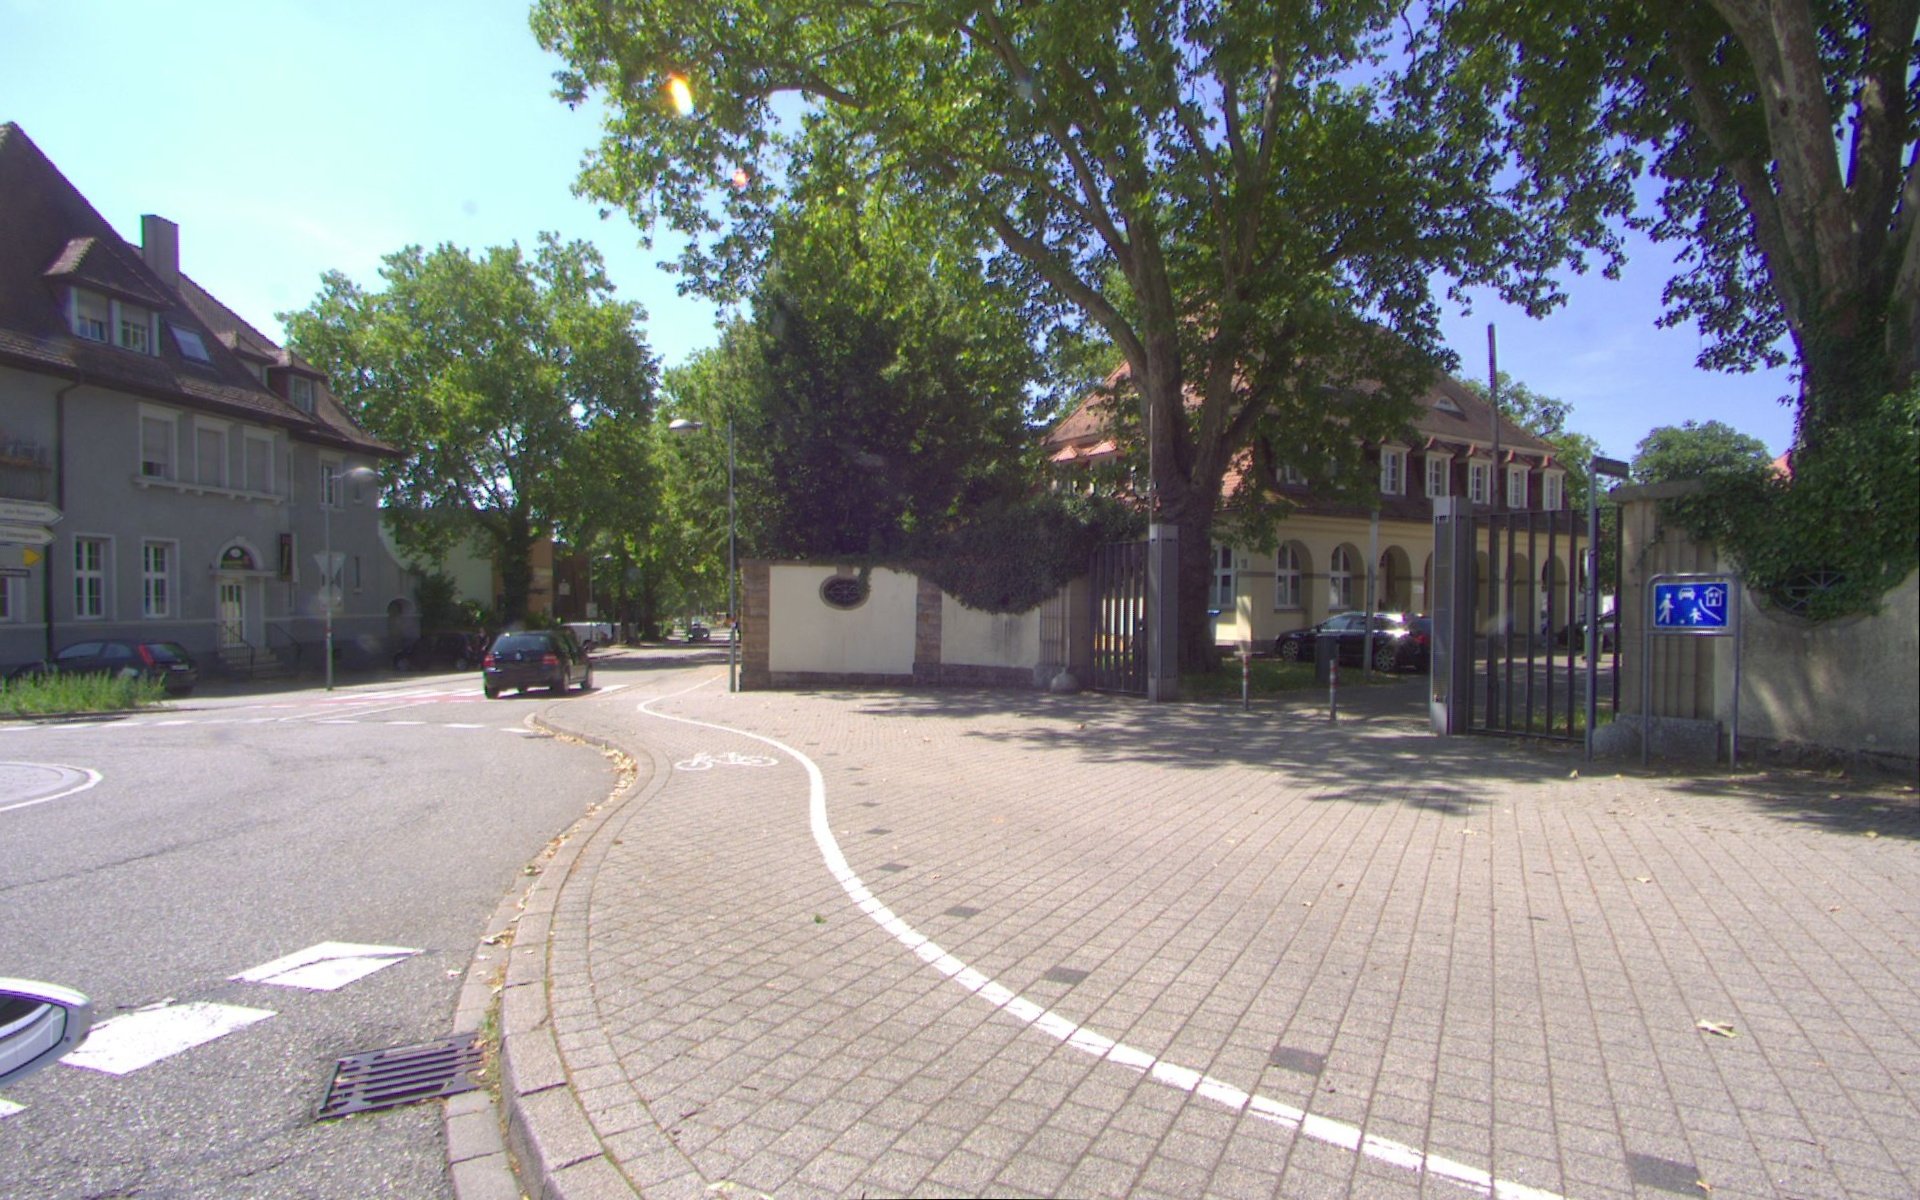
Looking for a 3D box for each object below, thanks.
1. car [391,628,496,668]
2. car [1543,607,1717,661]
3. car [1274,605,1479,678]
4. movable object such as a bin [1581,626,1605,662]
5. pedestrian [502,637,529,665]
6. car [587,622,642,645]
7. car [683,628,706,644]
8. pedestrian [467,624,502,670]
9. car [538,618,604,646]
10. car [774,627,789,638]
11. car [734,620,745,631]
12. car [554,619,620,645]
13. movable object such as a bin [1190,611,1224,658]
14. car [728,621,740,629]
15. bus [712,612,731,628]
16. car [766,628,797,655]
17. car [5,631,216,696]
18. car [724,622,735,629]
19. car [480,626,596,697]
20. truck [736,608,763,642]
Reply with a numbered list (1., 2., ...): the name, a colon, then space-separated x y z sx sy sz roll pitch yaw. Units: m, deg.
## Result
1. car: -20.704 1.915 40.243 3.326 1.566 1.724 -1 -1 1
2. car: 22.702 1.088 34.121 1.973 1.422 4.471 0 3 -32
3. car: 10.517 0.973 25.626 1.973 1.422 4.471 0 3 -32
4. movable object such as a bin: 18.455 1.274 29.193 0.530 1.021 0.525 -1 -1 26
5. pedestrian: -18.758 2.149 42.250 0.741 1.136 0.897 -1 -1 1
6. car: -28.886 2.773 83.781 4.065 1.827 1.902 2 -1 -12
7. car: -24.132 3.268 91.145 1.742 1.444 4.390 0 -2 -12
8. pedestrian: -18.588 1.819 39.196 0.857 1.765 1.112 -1 -1 -2
9. car: -26.623 2.207 68.704 3.926 1.815 1.867 2 -1 -12
10. car: -23.825 4.376 133.847 1.740 1.392 3.726 -1 -1 -14
11. car: -39.322 4.556 178.400 1.851 1.706 3.998 0 -2 -14
12. car: -28.145 2.409 75.613 4.356 1.827 1.902 2 -1 -12
13. movable object such as a bin: 7.060 0.980 28.610 0.661 1.313 0.672 0 -1 -42
14. car: -42.741 4.705 189.361 1.743 1.392 3.720 -1 -1 -22
15. bus: -50.616 4.264 212.306 2.627 3.191 11.170 0 -2 -21
16. car: -11.837 2.726 66.610 1.713 1.578 4.778 -2 0 -7
17. car: -20.653 1.530 24.436 3.719 1.479 1.724 -1 -1 1
18. car: -45.385 5.018 197.044 1.742 1.392 3.720 -1 -1 -21
19. car: -9.732 1.359 23.366 1.684 1.466 4.055 -1 -1 -11
20. truck: -20.493 2.475 97.594 2.333 3.173 5.769 0 -2 -9
